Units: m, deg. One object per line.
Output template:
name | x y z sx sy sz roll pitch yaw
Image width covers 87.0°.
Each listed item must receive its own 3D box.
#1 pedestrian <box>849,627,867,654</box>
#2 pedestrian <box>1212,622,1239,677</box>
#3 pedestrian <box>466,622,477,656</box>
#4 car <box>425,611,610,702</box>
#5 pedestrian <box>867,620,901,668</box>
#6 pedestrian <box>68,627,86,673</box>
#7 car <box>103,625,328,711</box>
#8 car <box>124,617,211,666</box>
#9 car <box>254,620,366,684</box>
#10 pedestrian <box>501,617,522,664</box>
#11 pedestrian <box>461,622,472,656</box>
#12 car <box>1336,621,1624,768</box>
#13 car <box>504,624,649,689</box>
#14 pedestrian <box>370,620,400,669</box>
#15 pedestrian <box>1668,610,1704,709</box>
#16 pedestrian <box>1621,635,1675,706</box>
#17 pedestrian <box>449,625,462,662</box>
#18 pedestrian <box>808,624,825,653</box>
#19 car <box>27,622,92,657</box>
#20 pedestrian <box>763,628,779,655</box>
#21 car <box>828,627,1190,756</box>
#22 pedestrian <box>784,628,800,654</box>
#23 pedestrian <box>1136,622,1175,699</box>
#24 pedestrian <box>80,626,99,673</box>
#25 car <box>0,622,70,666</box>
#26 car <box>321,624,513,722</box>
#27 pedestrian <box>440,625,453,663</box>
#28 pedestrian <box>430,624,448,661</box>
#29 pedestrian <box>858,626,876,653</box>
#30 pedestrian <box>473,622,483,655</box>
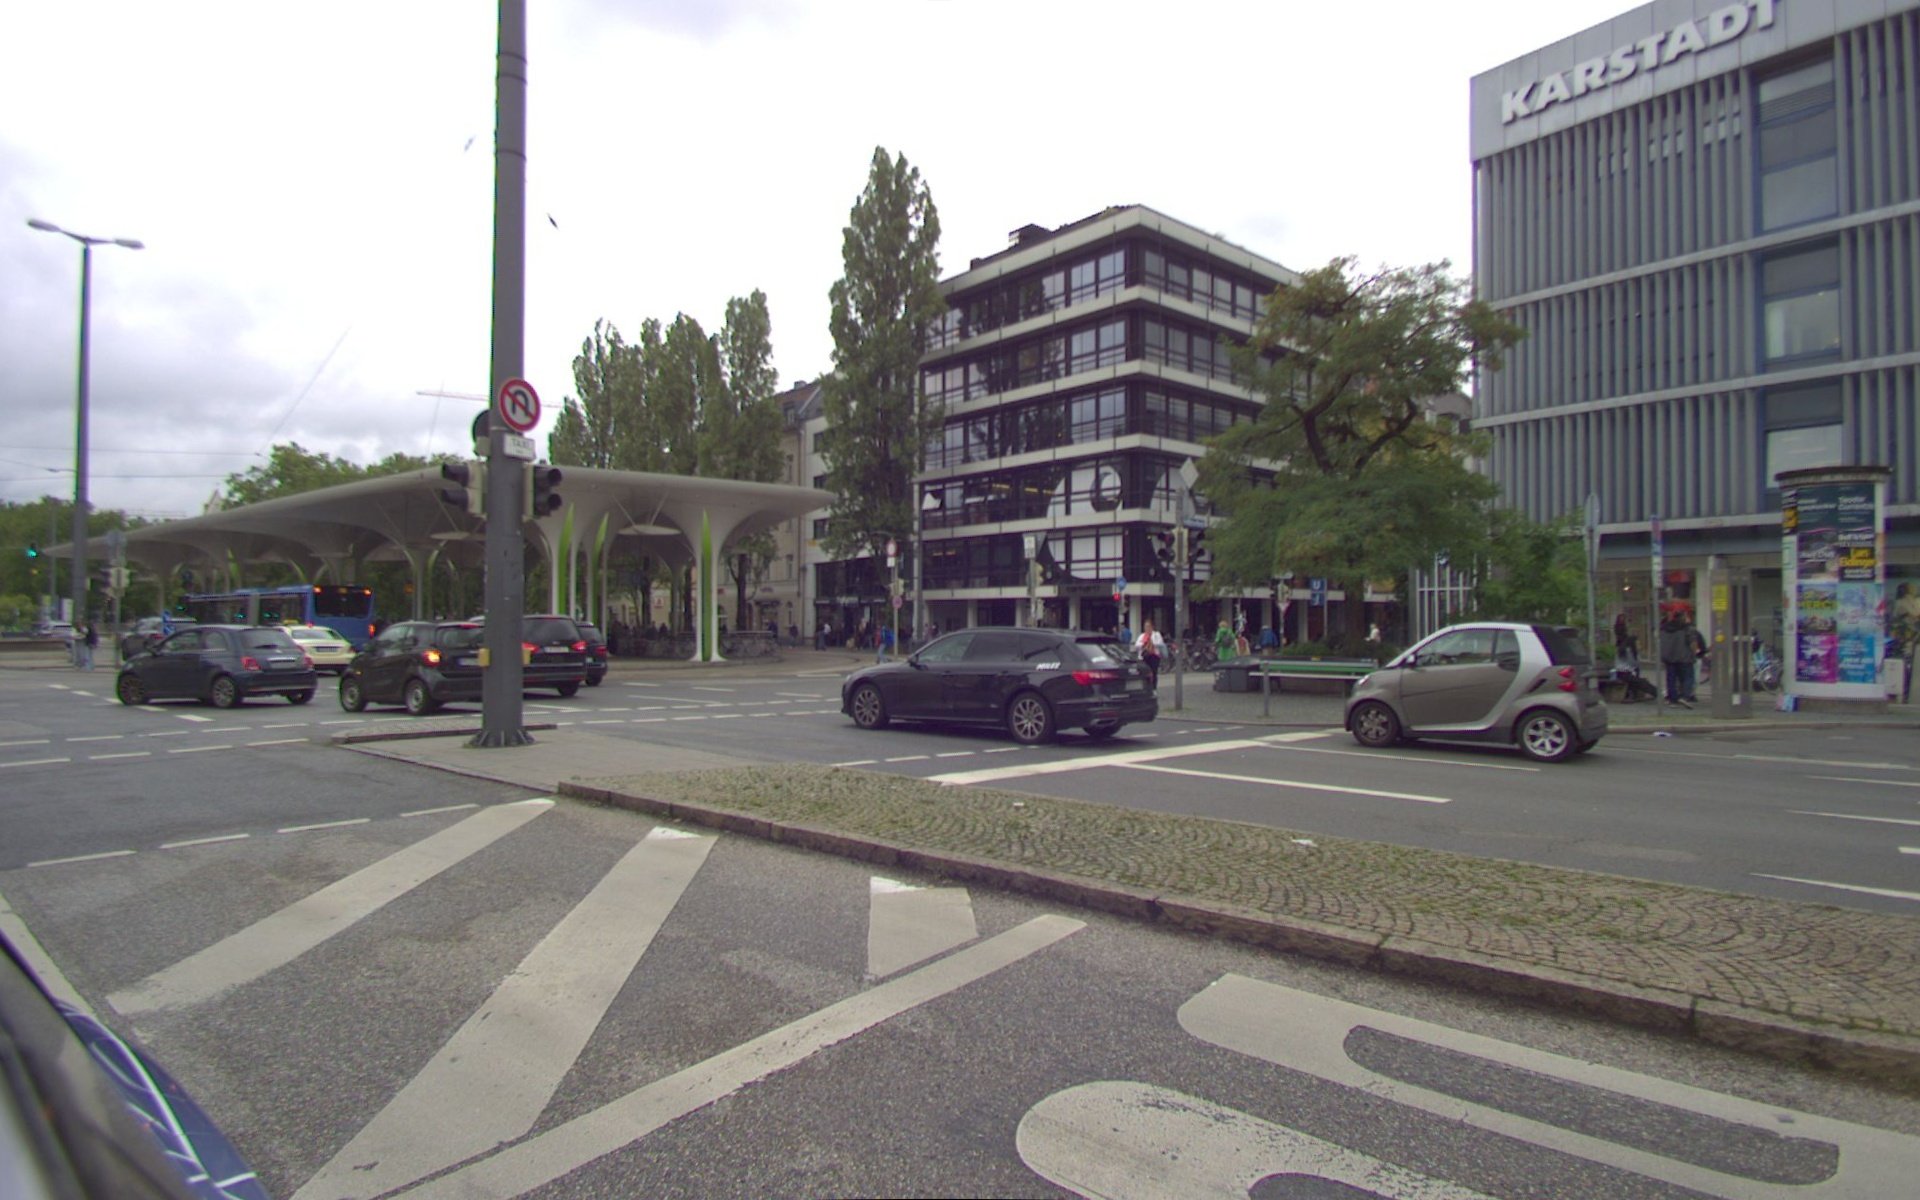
pedestrian | -6.511 2.568 64.456 0.788 1.737 0.827 1 -2 -38
pedestrian | 8.474 1.572 32.299 0.647 1.748 0.757 -1 -2 33
pedestrian | -20.155 1.593 41.731 0.257 1.387 0.299 -2 -2 38
car | -9.634 1.162 21.898 4.305 1.785 1.973 -1 -3 41
pedestrian | -2.853 1.637 37.987 0.980 1.791 0.850 -2 -2 41
pedestrian | -27.373 1.540 31.371 0.380 1.430 0.352 -2 -2 40
car | -13.730 1.226 18.725 3.358 1.491 1.620 -1 -3 16
car | -29.390 1.490 37.476 3.998 1.696 1.824 -1 0 41
car | -19.106 1.454 29.681 3.998 1.696 1.738 -1 0 41
pedestrian | -17.915 1.621 40.390 0.656 1.865 0.790 1 -2 -30
pedestrian | -20.169 1.594 41.367 0.270 1.387 0.299 -2 -2 38
car | 6.176 1.033 12.112 2.746 1.527 1.652 -2 -2 41
car | -10.196 1.445 26.773 3.997 1.597 1.907 -2 -2 40
pedestrian | -21.158 1.634 37.245 0.787 1.762 0.702 -2 -3 40
pedestrian | 12.723 1.027 17.734 0.459 1.712 0.426 -1 0 40
pedestrian | 13.041 1.322 19.184 0.773 1.318 0.537 -2 -2 41
pedestrian | -20.671 1.791 41.468 0.316 1.514 0.331 -1 -2 31
pedestrian | -8.735 2.334 61.706 0.938 1.786 0.985 0 -2 -12
car | -43.679 1.877 49.088 3.997 1.549 1.824 -1 0 40
pedestrian | -12.206 2.665 65.366 0.821 1.712 0.907 1 -2 -28
car | 0.515 1.087 13.506 4.613 1.427 1.973 -2 -2 41
pedestrian | -11.199 2.746 67.425 0.821 1.712 0.907 1 -2 -28
pedestrian | 4.078 1.241 21.107 0.754 1.563 0.636 -1 0 15
pedestrian | -26.942 1.536 31.319 0.380 1.430 0.352 -2 -2 40
car | -34.931 1.606 37.909 3.998 1.481 1.898 -1 0 41
car | -9.138 1.157 17.046 2.775 1.518 1.547 -1 -2 27
pedestrian | -20.975 1.795 41.320 0.316 1.514 0.317 -1 -2 31
pedestrian | -21.482 1.738 41.716 0.425 1.514 0.485 -1 -2 28
pedestrian | -5.996 2.561 65.271 0.788 1.737 0.827 1 -2 -38
pedestrian | -20.037 1.591 42.055 0.257 1.387 0.299 -2 -2 38
